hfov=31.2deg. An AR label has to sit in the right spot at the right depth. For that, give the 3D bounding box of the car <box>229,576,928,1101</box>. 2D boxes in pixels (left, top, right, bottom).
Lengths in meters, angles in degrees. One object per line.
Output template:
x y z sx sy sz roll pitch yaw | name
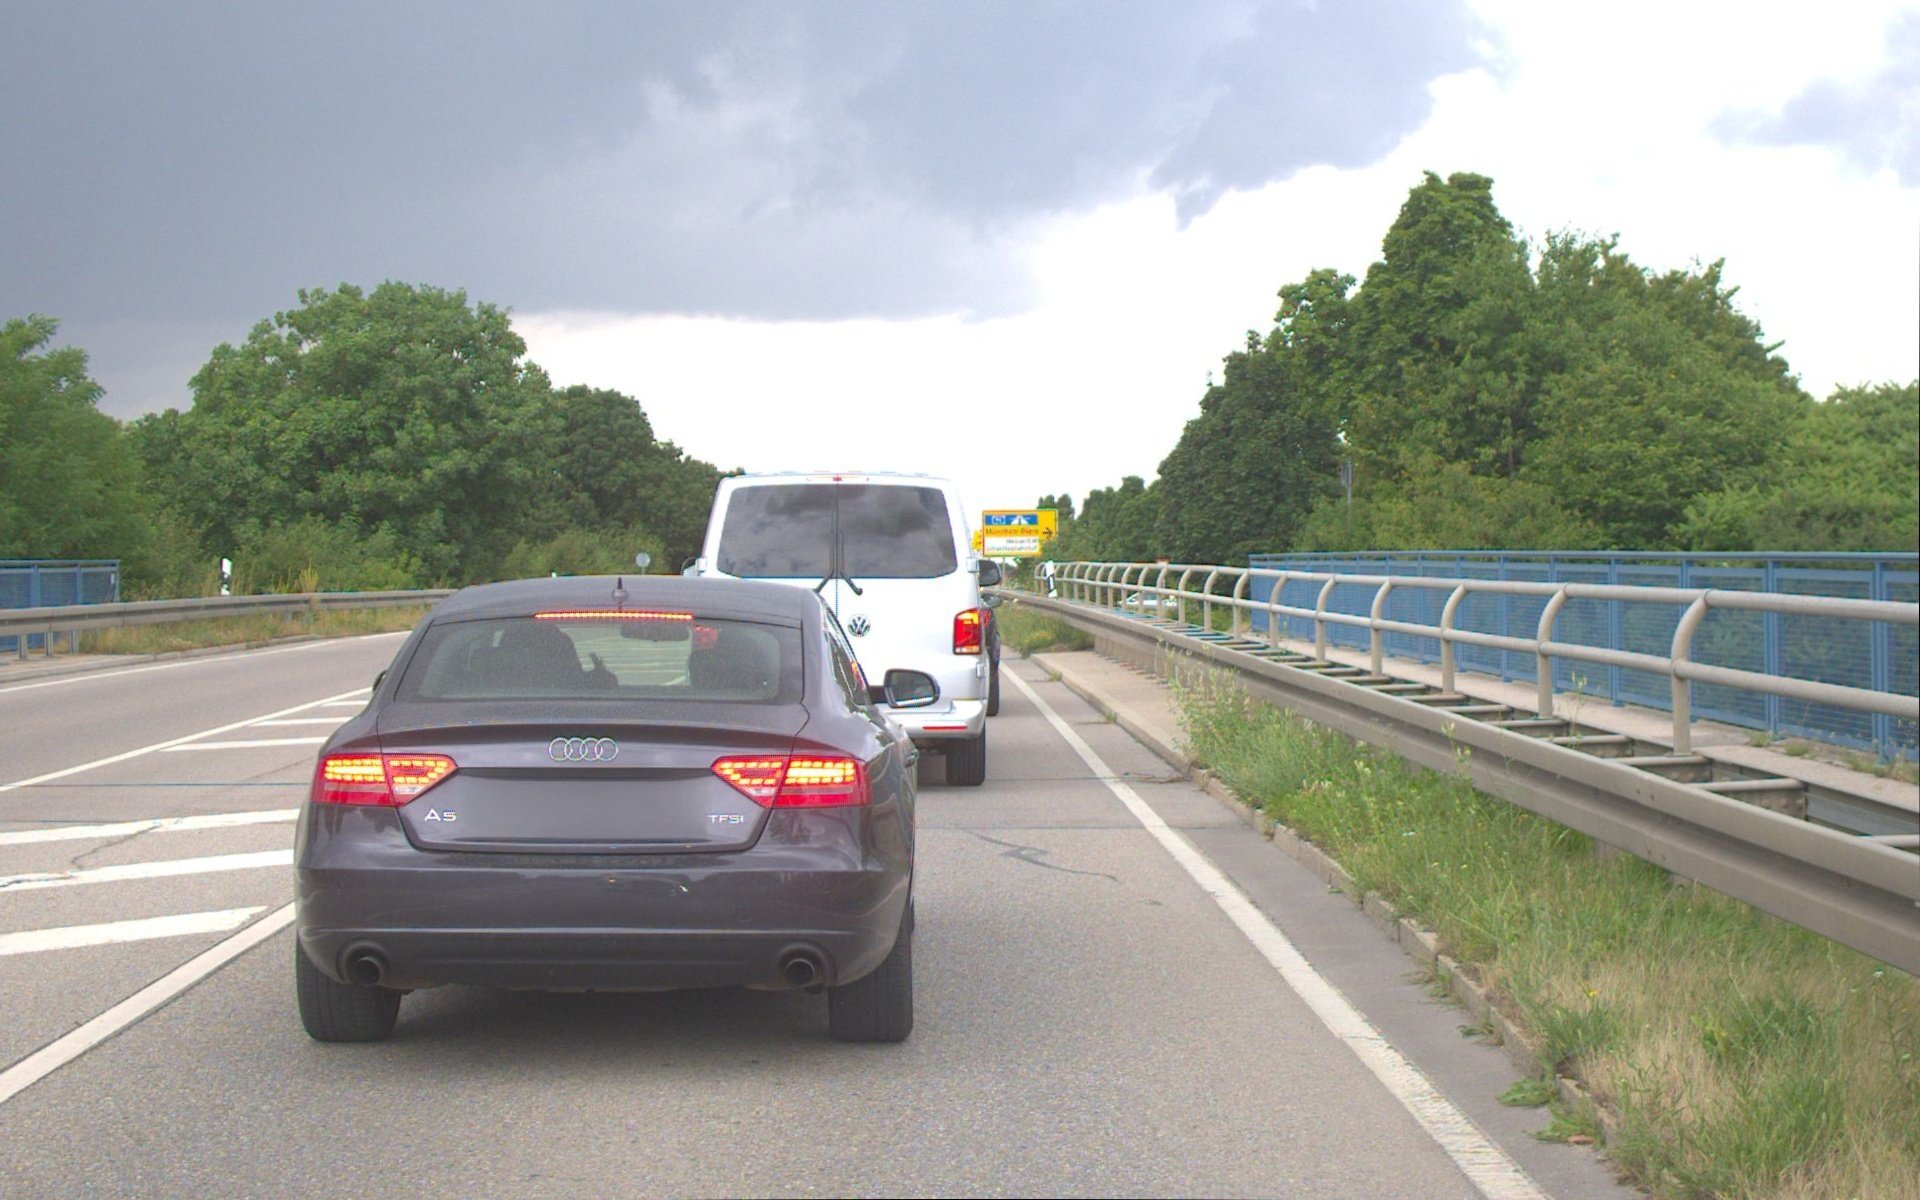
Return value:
-1.044 0.626 11.261 1.821 1.376 4.072 0 1 0 | car

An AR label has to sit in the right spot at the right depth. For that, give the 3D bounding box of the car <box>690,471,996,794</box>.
-0.739 0.169 22.635 1.828 1.929 4.000 0 1 -1 | car

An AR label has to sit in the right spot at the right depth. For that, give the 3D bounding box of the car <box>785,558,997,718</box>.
-0.593 0.306 31.691 1.821 1.376 4.072 0 1 0 | car
